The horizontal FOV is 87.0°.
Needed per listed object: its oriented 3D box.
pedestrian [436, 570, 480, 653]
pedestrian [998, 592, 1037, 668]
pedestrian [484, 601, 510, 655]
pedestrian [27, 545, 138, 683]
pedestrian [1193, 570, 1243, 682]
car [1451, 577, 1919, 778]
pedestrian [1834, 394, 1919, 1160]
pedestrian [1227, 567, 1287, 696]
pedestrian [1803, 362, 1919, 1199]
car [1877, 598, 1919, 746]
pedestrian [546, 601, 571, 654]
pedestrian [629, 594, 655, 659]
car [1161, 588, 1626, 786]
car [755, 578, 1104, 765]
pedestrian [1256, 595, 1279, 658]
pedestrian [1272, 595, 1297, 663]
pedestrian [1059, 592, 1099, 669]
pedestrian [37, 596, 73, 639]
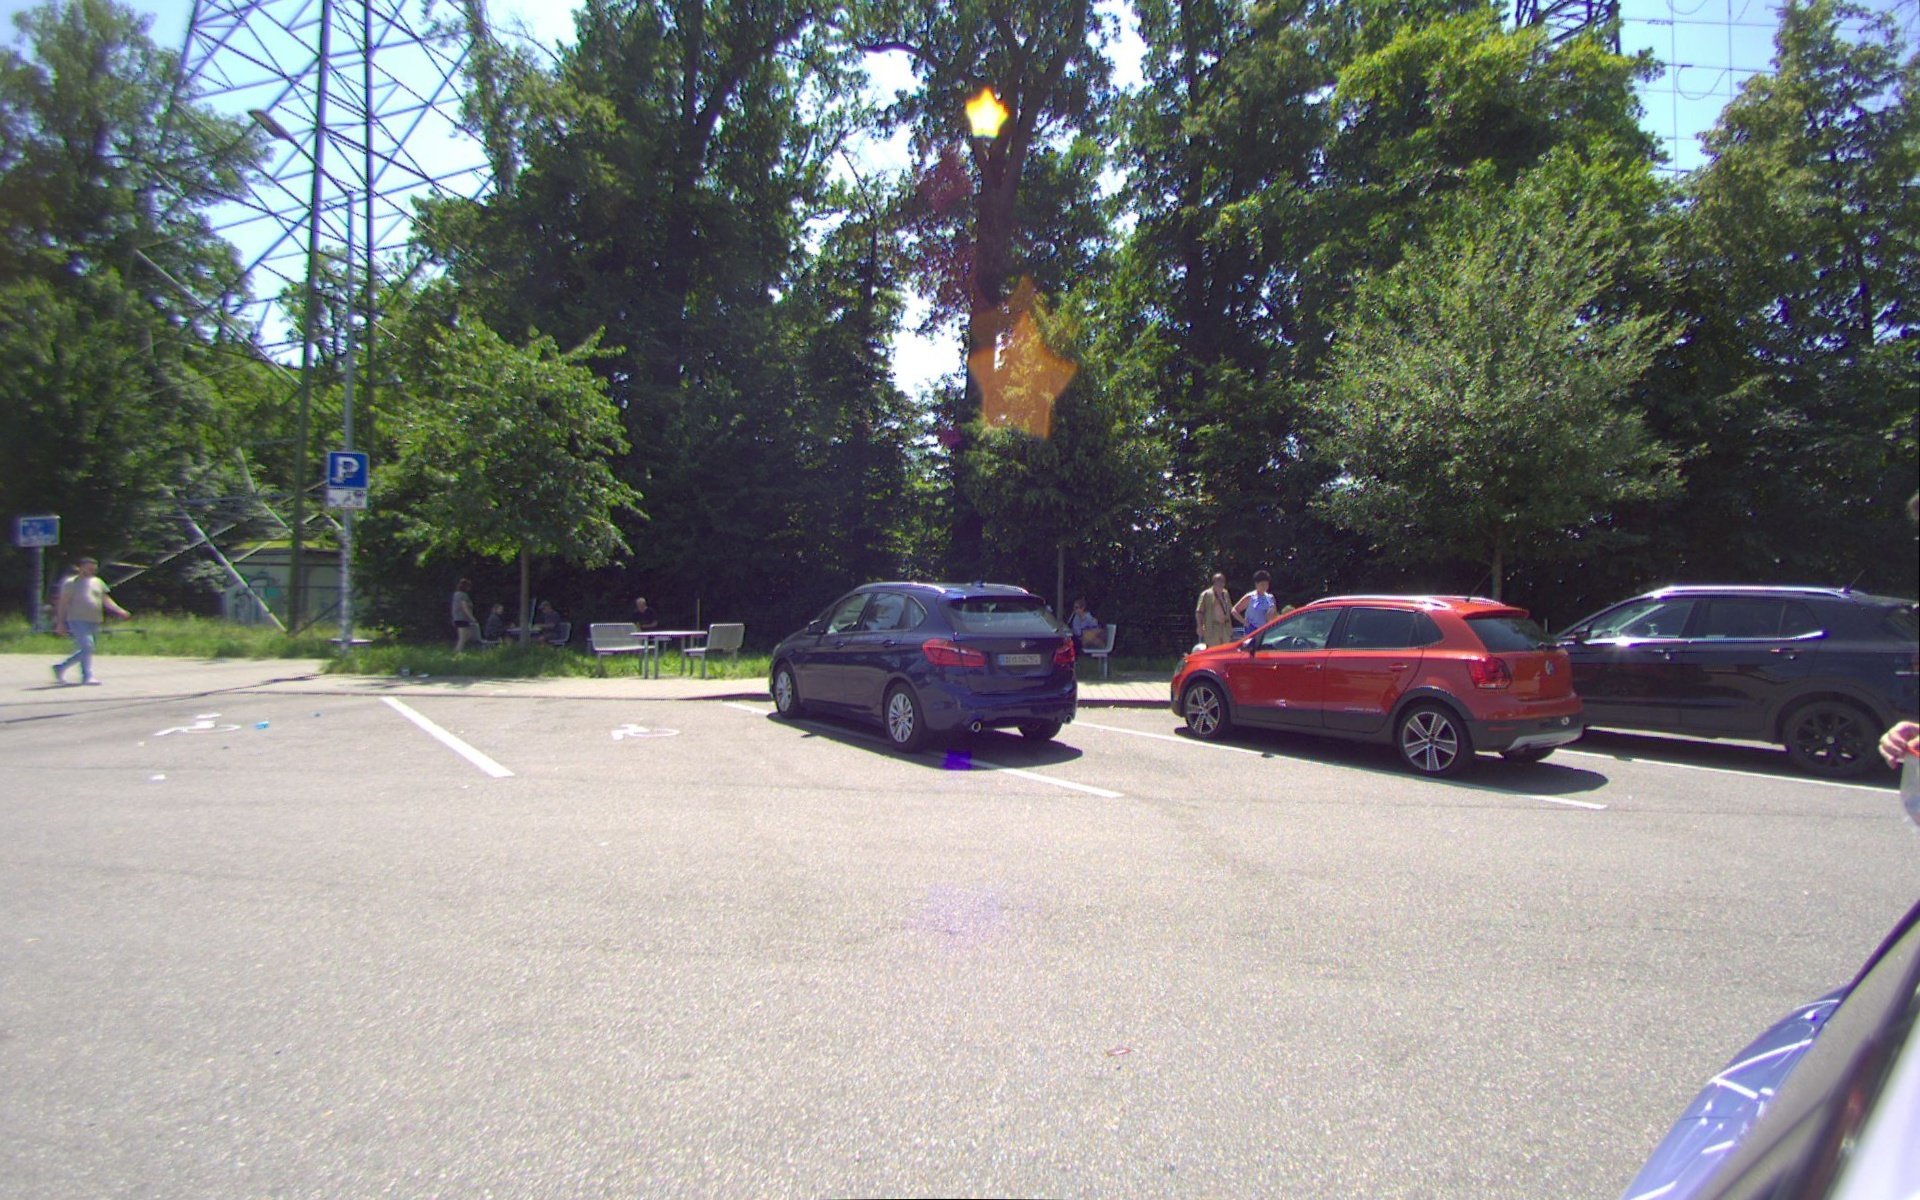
[{"bbox_3d":[-10.328,0.221,20.848,0.700,1.670,0.689,0,0,-17],"label":"pedestrian"},{"bbox_3d":[0.974,0.502,17.104,0.586,1.261,0.445,0,0,16],"label":"pedestrian"},{"bbox_3d":[-10.450,0.623,22.848,0.452,1.182,0.447,0,0,-34],"label":"pedestrian"},{"bbox_3d":[-12.697,0.195,14.669,0.904,1.929,0.813,0,0,3],"label":"pedestrian"},{"bbox_3d":[3.804,0.375,14.953,0.636,1.625,0.571,0,0,6],"label":"pedestrian"},{"bbox_3d":[7.081,0.596,9.856,1.620,1.575,3.826,0,0,-37],"label":"car"},{"bbox_3d":[2.966,0.455,2.532,0.901,1.974,0.816,0,0,-17],"label":"pedestrian"},{"bbox_3d":[3.822,0.392,13.069,0.636,1.625,0.571,0,0,6],"label":"pedestrian"},{"bbox_3d":[2.380,0.494,2.090,0.904,1.929,0.813,0,0,-38],"label":"pedestrian"},{"bbox_3d":[10.882,0.705,9.002,1.620,1.420,3.826,0,0,-37],"label":"car"},{"bbox_3d":[-9.361,0.624,23.589,0.452,1.209,0.447,0,0,-34],"label":"pedestrian"},{"bbox_3d":[-6.702,0.554,21.337,0.438,1.363,0.462,0,0,-5],"label":"pedestrian"},{"bbox_3d":[3.865,0.638,9.640,1.619,1.487,3.830,0,0,-33],"label":"car"},{"bbox_3d":[-0.556,0.555,10.779,1.714,1.572,4.347,0,1,-33],"label":"car"},{"bbox_3d":[5.803,0.498,19.117,0.350,1.180,0.384,0,0,8],"label":"pedestrian"},{"bbox_3d":[5.755,0.510,17.941,0.350,1.180,0.384,0,0,8],"label":"pedestrian"},{"bbox_3d":[1.987,0.499,16.847,0.586,1.261,0.498,0,0,16],"label":"pedestrian"},{"bbox_3d":[-20.968,0.407,23.447,0.452,0.987,0.447,0,0,-2],"label":"pedestrian"}]
